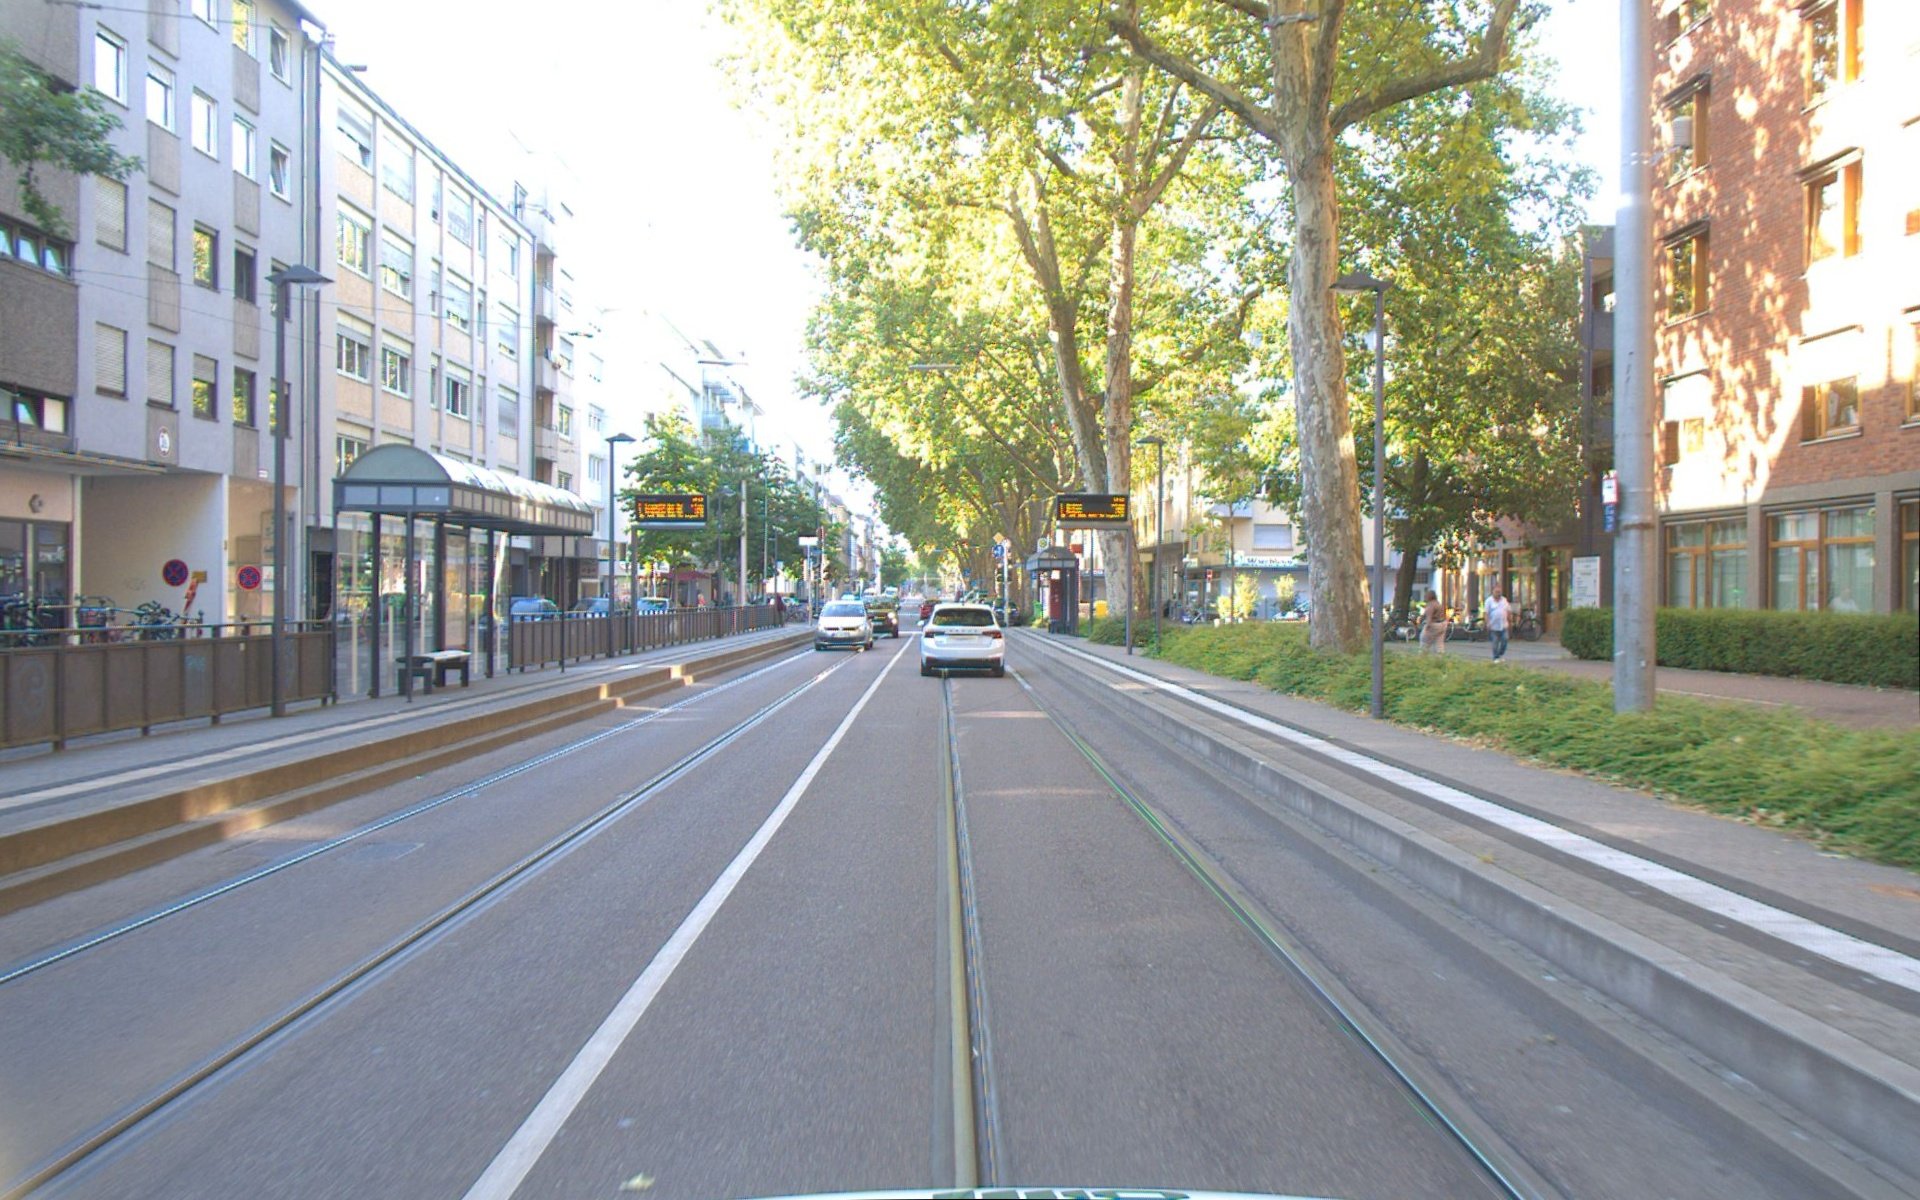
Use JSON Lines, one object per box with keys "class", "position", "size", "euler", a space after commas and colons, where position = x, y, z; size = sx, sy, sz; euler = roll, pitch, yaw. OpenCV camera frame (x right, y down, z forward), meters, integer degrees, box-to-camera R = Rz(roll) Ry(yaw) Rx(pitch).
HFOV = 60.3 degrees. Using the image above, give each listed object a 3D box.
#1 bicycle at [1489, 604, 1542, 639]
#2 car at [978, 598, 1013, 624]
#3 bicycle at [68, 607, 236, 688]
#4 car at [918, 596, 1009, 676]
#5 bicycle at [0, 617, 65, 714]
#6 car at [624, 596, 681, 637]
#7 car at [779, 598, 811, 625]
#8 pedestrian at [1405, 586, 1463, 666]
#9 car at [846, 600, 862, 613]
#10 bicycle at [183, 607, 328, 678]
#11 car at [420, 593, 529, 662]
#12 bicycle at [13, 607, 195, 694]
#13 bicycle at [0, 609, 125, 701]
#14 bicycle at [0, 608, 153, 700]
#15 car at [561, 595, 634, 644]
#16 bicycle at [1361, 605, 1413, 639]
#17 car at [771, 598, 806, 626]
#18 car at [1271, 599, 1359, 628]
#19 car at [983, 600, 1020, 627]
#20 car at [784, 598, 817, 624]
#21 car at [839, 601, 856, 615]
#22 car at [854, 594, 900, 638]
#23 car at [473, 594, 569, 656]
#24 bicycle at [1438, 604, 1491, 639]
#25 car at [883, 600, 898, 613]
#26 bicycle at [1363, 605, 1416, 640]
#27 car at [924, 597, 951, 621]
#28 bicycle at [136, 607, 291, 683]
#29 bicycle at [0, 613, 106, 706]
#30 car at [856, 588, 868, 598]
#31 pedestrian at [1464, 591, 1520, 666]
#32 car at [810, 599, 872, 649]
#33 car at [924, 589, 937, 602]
{"class": "bicycle", "position": [17.154, 0.657, 51.092], "size": [1.534, 1.055, 0.479], "euler": [0, 0, 22]}
{"class": "car", "position": [2.087, 0.646, 98.806], "size": [1.953, 1.478, 3.999], "euler": [0, 0, -1]}
{"class": "bicycle", "position": [-12.383, 0.719, 25.374], "size": [2.207, 1.092, 0.636], "euler": [3, 0, 0]}
{"class": "car", "position": [0.042, 0.694, 33.984], "size": [1.752, 1.540, 3.999], "euler": [0, 0, -1]}
{"class": "bicycle", "position": [-12.098, 0.738, 19.935], "size": [2.207, 1.092, 0.636], "euler": [3, 0, 0]}
{"class": "car", "position": [-12.830, 0.659, 69.292], "size": [1.644, 1.575, 3.999], "euler": [2, 0, -1]}
{"class": "car", "position": [-10.298, 0.691, 103.381], "size": [1.644, 1.575, 3.999], "euler": [2, 0, -1]}
{"class": "pedestrian", "position": [9.892, 0.541, 34.541], "size": [0.952, 1.652, 0.887], "euler": [0, 0, -1]}
{"class": "car", "position": [-13.063, 0.771, 203.528], "size": [1.752, 1.540, 3.999], "euler": [0, 0, -1]}
{"class": "bicycle", "position": [-12.294, 0.736, 28.885], "size": [2.207, 1.092, 0.636], "euler": [3, 0, 0]}
{"class": "car", "position": [-12.087, 0.643, 41.407], "size": [1.561, 1.575, 3.999], "euler": [2, 0, -1]}
{"class": "bicycle", "position": [-12.211, 0.719, 23.630], "size": [2.207, 1.092, 0.636], "euler": [3, 0, 0]}
{"class": "bicycle", "position": [-12.266, 0.699, 21.731], "size": [2.207, 1.092, 0.636], "euler": [3, 0, 0]}
{"class": "bicycle", "position": [-12.203, 0.718, 22.367], "size": [2.207, 1.092, 0.636], "euler": [3, 0, 0]}
{"class": "car", "position": [-12.537, 0.645, 57.351], "size": [1.644, 1.575, 3.999], "euler": [2, 0, -1]}
{"class": "bicycle", "position": [13.371, 0.688, 51.843], "size": [1.533, 1.055, 0.504], "euler": [0, 0, 21]}
{"class": "car", "position": [-10.262, 0.688, 99.187], "size": [1.644, 1.575, 3.999], "euler": [2, 0, -1]}
{"class": "car", "position": [17.173, 0.653, 80.217], "size": [3.904, 1.396, 1.867], "euler": [0, 0, 1]}
{"class": "car", "position": [2.335, 0.745, 93.724], "size": [1.953, 1.478, 3.999], "euler": [0, 0, -1]}
{"class": "car", "position": [-10.375, 0.696, 107.553], "size": [1.758, 1.536, 3.999], "euler": [2, 0, -1]}
{"class": "car", "position": [-12.767, 0.855, 187.372], "size": [1.752, 1.540, 3.999], "euler": [0, 0, -1]}
{"class": "car", "position": [-3.240, 0.596, 65.025], "size": [1.659, 1.673, 3.999], "euler": [0, 0, -1]}
{"class": "car", "position": [-12.054, 0.647, 45.656], "size": [1.561, 1.575, 3.999], "euler": [2, 0, -1]}
{"class": "bicycle", "position": [15.580, 0.650, 51.046], "size": [1.533, 1.055, 0.479], "euler": [0, 0, 21]}
{"class": "car", "position": [-8.283, 0.720, 197.883], "size": [1.752, 1.540, 3.999], "euler": [0, 0, -1]}
{"class": "bicycle", "position": [13.219, 0.687, 50.925], "size": [1.533, 1.055, 0.479], "euler": [0, 0, 21]}
{"class": "car", "position": [-1.508, 0.581, 110.236], "size": [1.752, 1.540, 3.999], "euler": [0, 0, -1]}
{"class": "bicycle", "position": [-12.264, 0.735, 27.207], "size": [2.207, 1.092, 0.636], "euler": [3, 0, 0]}
{"class": "bicycle", "position": [-12.210, 0.726, 21.138], "size": [2.207, 1.092, 0.636], "euler": [3, 0, 0]}
{"class": "car", "position": [-14.891, -1.015, 251.254], "size": [1.752, 1.540, 3.999], "euler": [0, 0, -1]}
{"class": "pedestrian", "position": [11.837, 0.632, 36.819], "size": [0.952, 1.652, 0.887], "euler": [0, 0, -1]}
{"class": "car", "position": [-3.588, 0.696, 50.319], "size": [1.659, 1.444, 3.999], "euler": [0, 0, -1]}
{"class": "car", "position": [-4.294, -0.642, 239.571], "size": [1.828, 1.925, 3.999], "euler": [0, 0, -1]}
